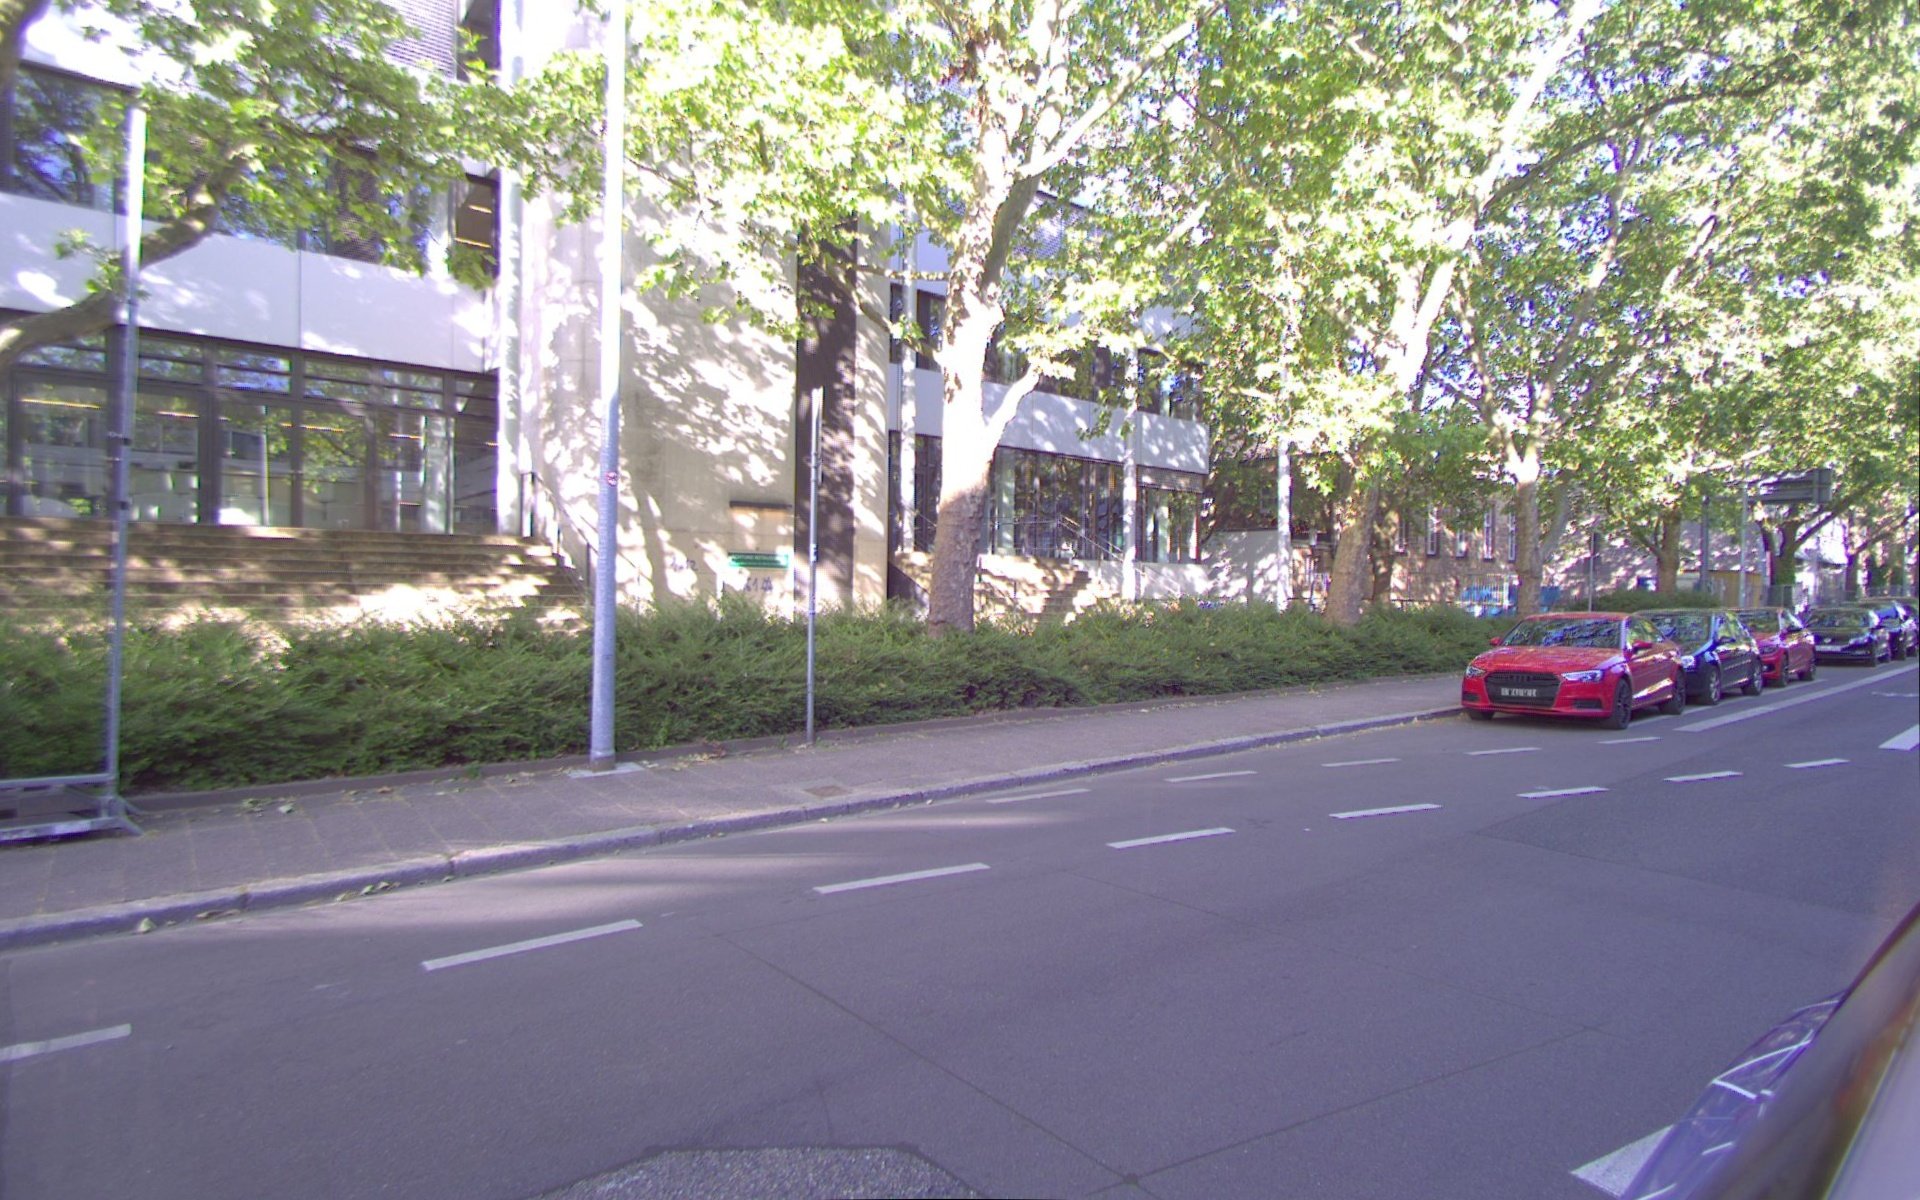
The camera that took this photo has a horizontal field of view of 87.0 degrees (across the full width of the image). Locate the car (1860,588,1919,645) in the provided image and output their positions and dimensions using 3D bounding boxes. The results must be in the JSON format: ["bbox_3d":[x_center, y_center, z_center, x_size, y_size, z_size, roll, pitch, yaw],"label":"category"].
[{"bbox_3d":[31.072,0.493,33.046,4.188,1.747,1.997,-1,0,-41],"label":"car"}]

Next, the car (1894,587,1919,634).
[{"bbox_3d":[35.731,0.374,37.068,4.004,1.638,1.797,0,1,-41],"label":"car"}]

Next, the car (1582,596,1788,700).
[{"bbox_3d":[11.894,0.687,16.517,3.929,1.475,1.812,0,1,-40],"label":"car"}]

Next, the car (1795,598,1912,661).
[{"bbox_3d":[22.974,0.691,25.988,3.930,1.456,1.744,0,1,-41],"label":"car"}]

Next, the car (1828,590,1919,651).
[{"bbox_3d":[26.638,0.536,29.185,4.158,1.601,1.847,0,1,-41],"label":"car"}]

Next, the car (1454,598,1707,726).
[{"bbox_3d":[8.351,0.704,13.472,4.101,1.443,1.773,0,-1,-42],"label":"car"}]

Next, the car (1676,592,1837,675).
[{"bbox_3d":[15.785,0.596,20.004,3.930,1.456,1.789,0,1,-41],"label":"car"}]
